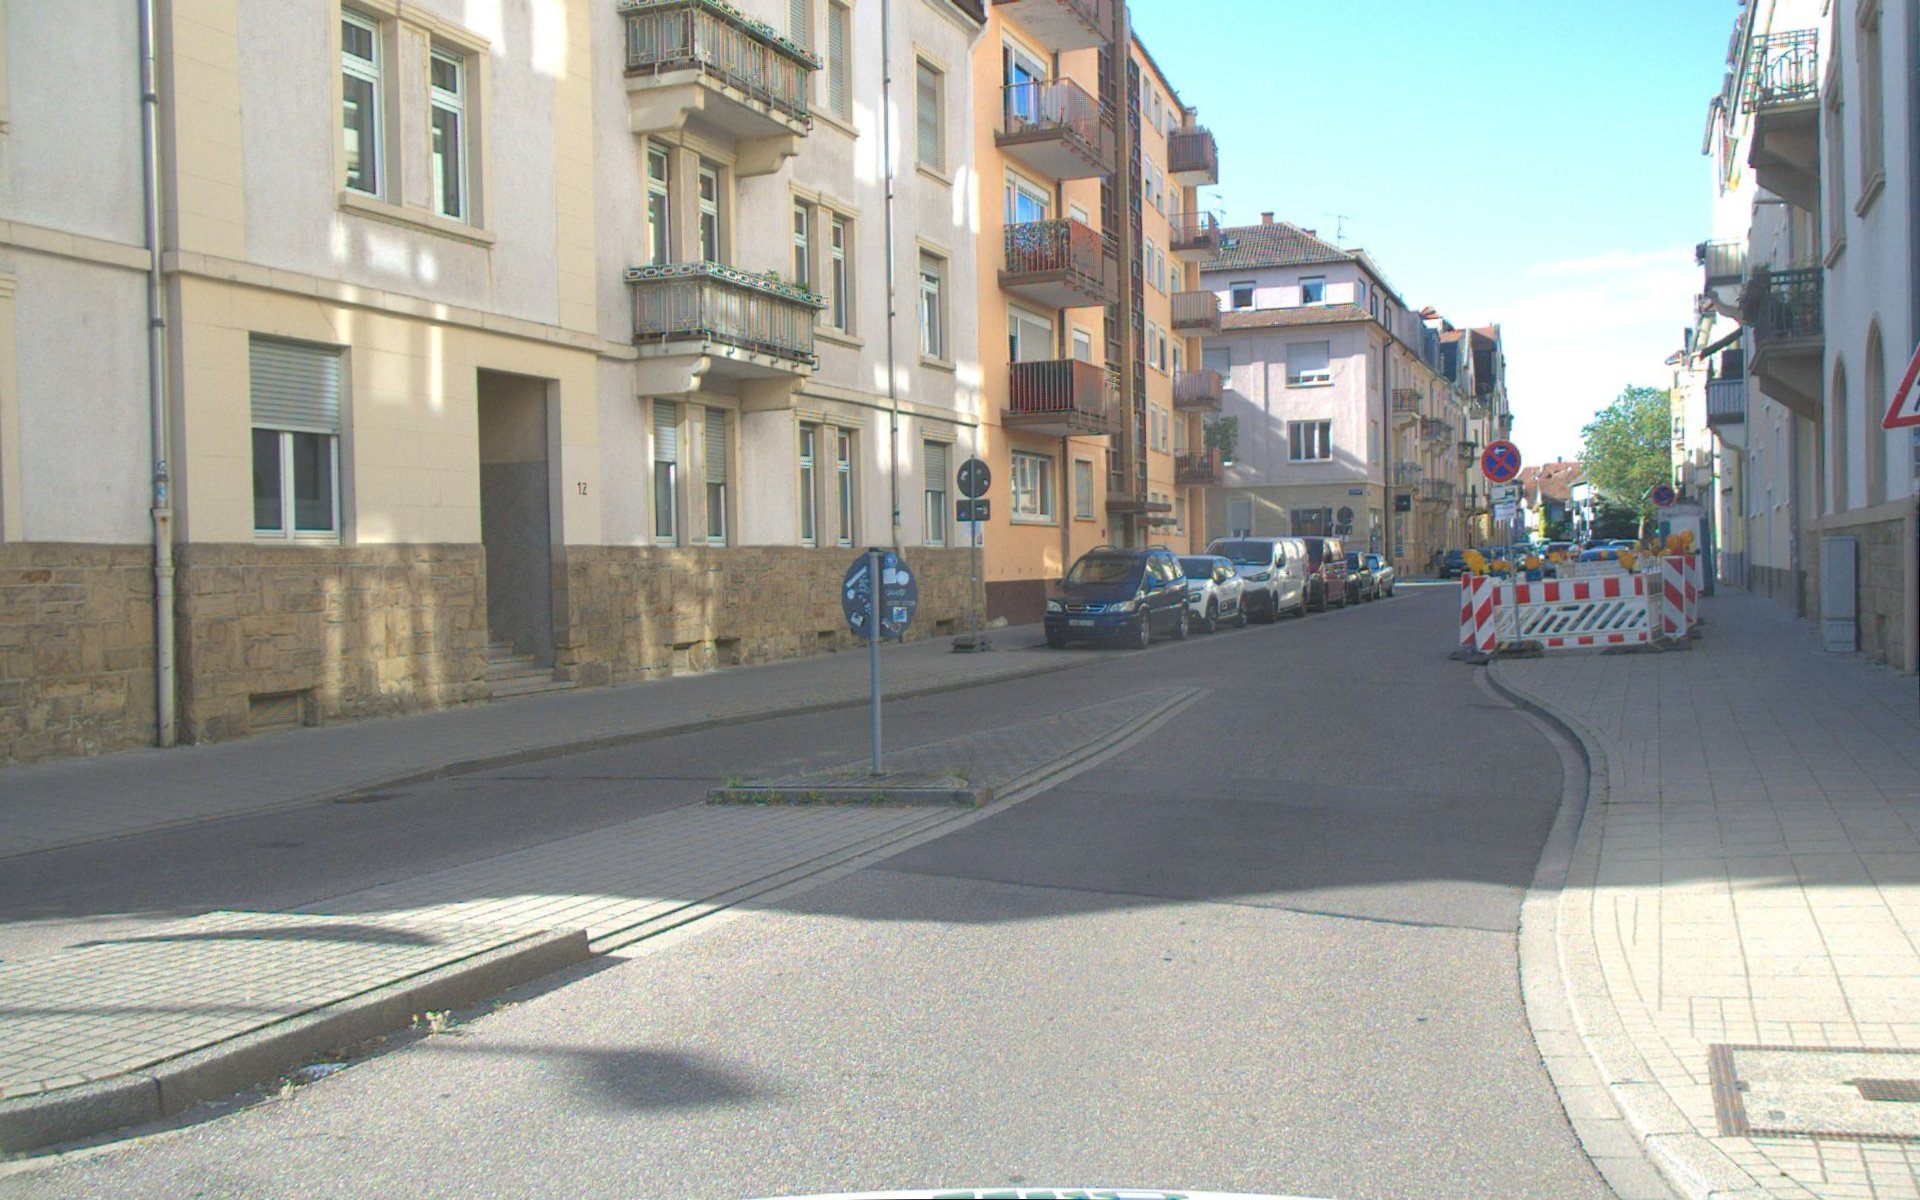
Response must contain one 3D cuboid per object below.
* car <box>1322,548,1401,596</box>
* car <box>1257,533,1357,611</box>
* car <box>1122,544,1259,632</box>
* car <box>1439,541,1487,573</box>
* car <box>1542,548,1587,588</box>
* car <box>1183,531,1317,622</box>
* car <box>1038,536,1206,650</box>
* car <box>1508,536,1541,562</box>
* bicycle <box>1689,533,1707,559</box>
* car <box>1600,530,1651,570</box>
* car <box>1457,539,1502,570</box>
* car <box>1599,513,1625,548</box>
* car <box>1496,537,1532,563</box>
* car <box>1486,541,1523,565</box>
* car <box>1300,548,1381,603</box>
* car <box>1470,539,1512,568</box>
[{"bbox_3d":[13.069,-0.952,53.693,1.727,1.401,4.477,3,3,23],"label":"car"},{"bbox_3d":[9.331,-0.792,44.185,1.727,1.958,4.935,0,2,22],"label":"car"},{"bbox_3d":[4.739,-0.293,33.559,1.727,1.649,4.295,0,2,22],"label":"car"},{"bbox_3d":[24.246,-2.064,79.671,1.646,1.451,4.272,1,2,24],"label":"car"},{"bbox_3d":[31.091,-1.664,85.011,1.963,1.947,4.487,1,2,23],"label":"car"},{"bbox_3d":[6.801,-0.597,38.310,1.935,1.958,5.309,0,2,22],"label":"car"},{"bbox_3d":[2.887,-0.182,28.594,1.727,1.801,4.294,0,2,22],"label":"car"},{"bbox_3d":[40.566,-3.659,118.874,1.963,1.819,4.487,1,2,22],"label":"car"},{"bbox_3d":[37.389,-2.730,83.840,0.746,1.268,2.591,-1,2,23],"label":"bicycle"},{"bbox_3d":[30.798,-2.272,76.498,1.875,1.673,4.770,-2,-1,25],"label":"car"},{"bbox_3d":[28.117,-2.451,89.417,1.963,1.609,4.487,1,2,22],"label":"car"},{"bbox_3d":[53.243,-5.626,135.014,1.801,2.578,4.174,-2,-1,23],"label":"car"},{"bbox_3d":[36.408,-3.246,108.719,1.963,1.647,4.487,1,2,22],"label":"car"},{"bbox_3d":[34.418,-2.955,104.410,1.938,1.508,4.328,1,2,22],"label":"car"},{"bbox_3d":[11.394,-0.760,49.371,1.726,1.528,4.001,-2,1,21],"label":"car"},{"bbox_3d":[30.896,-2.686,96.130,1.963,1.647,4.487,1,2,22],"label":"car"}]
